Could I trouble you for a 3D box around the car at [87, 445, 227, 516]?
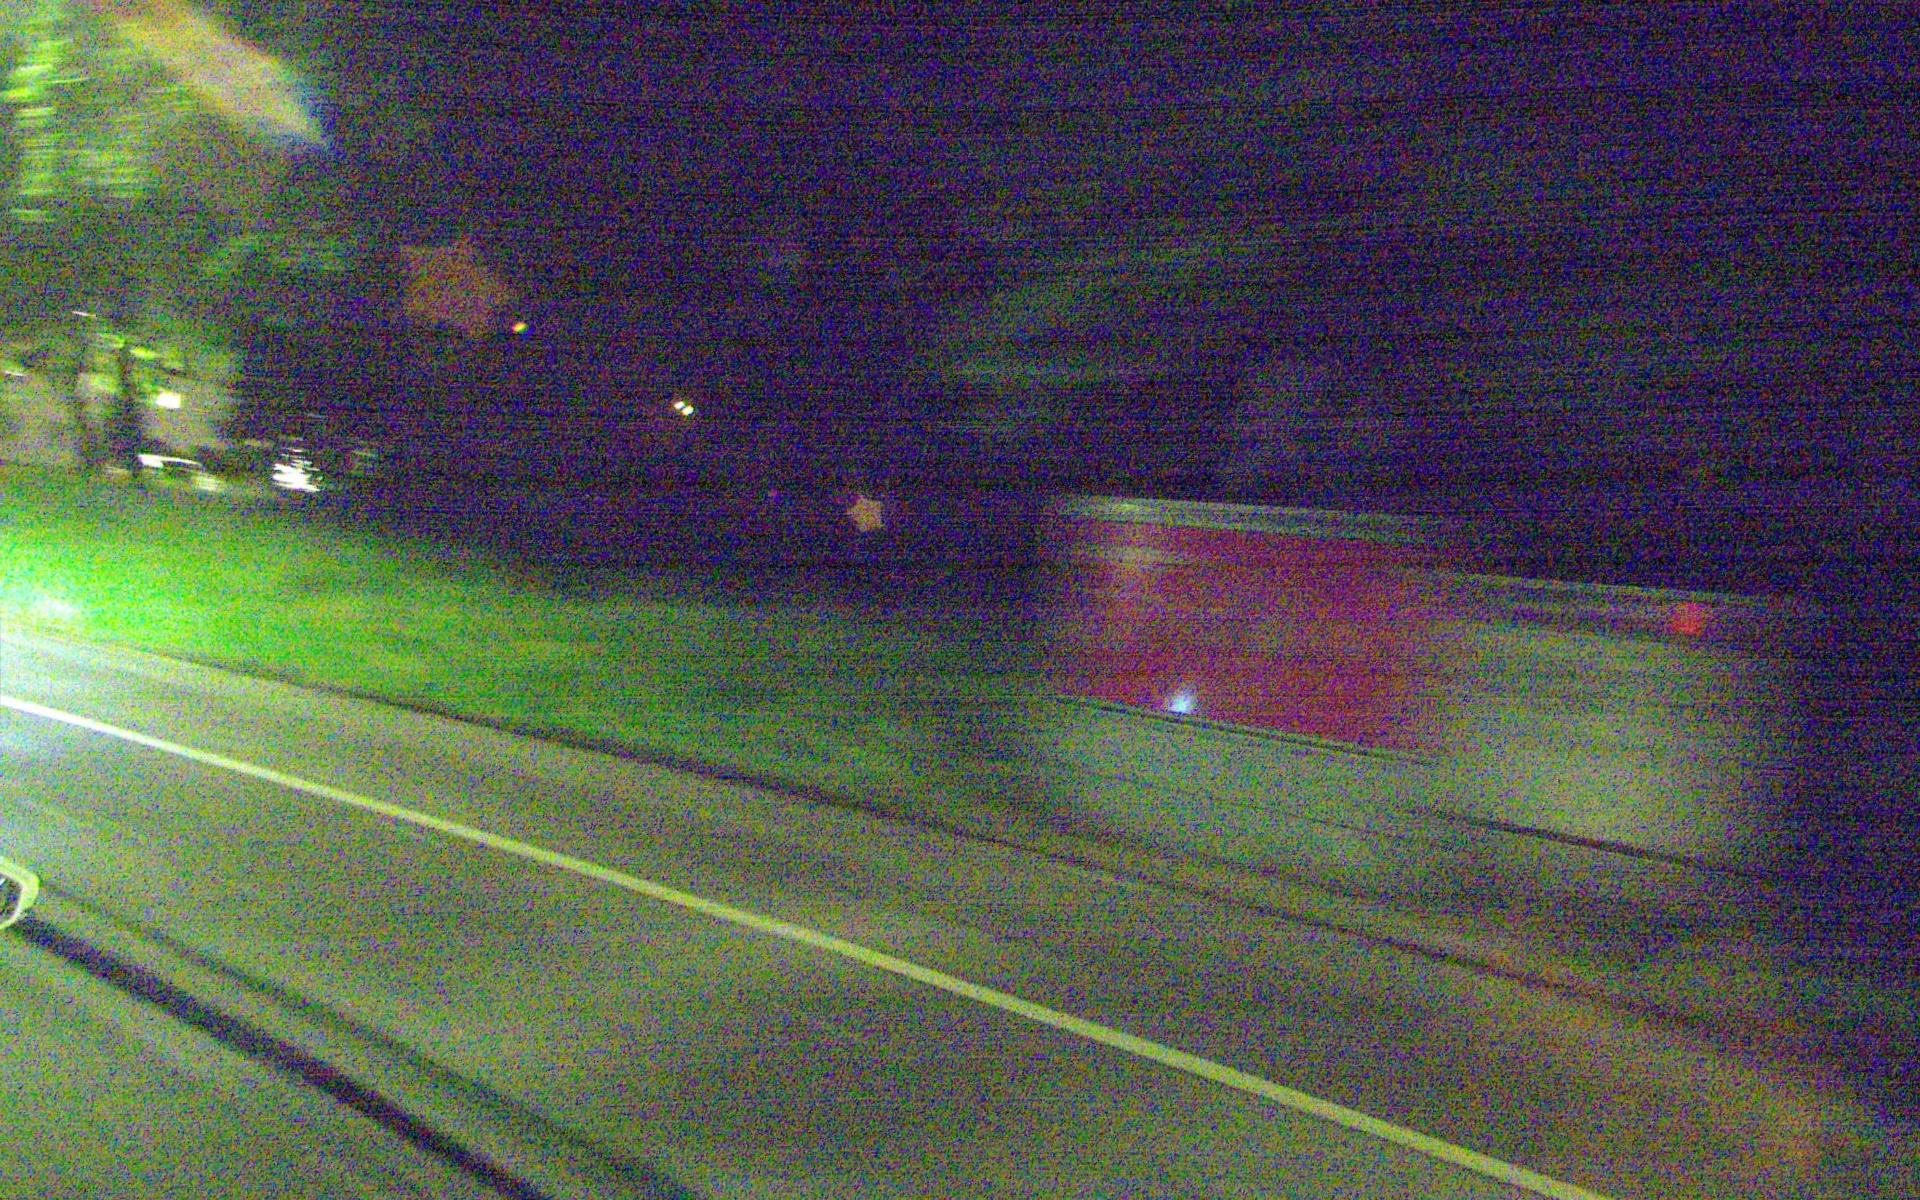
[{"bbox_3d":[-26.167,-3.901,32.794,4.041,1.863,1.953,7,3,25],"label":"car"}]
